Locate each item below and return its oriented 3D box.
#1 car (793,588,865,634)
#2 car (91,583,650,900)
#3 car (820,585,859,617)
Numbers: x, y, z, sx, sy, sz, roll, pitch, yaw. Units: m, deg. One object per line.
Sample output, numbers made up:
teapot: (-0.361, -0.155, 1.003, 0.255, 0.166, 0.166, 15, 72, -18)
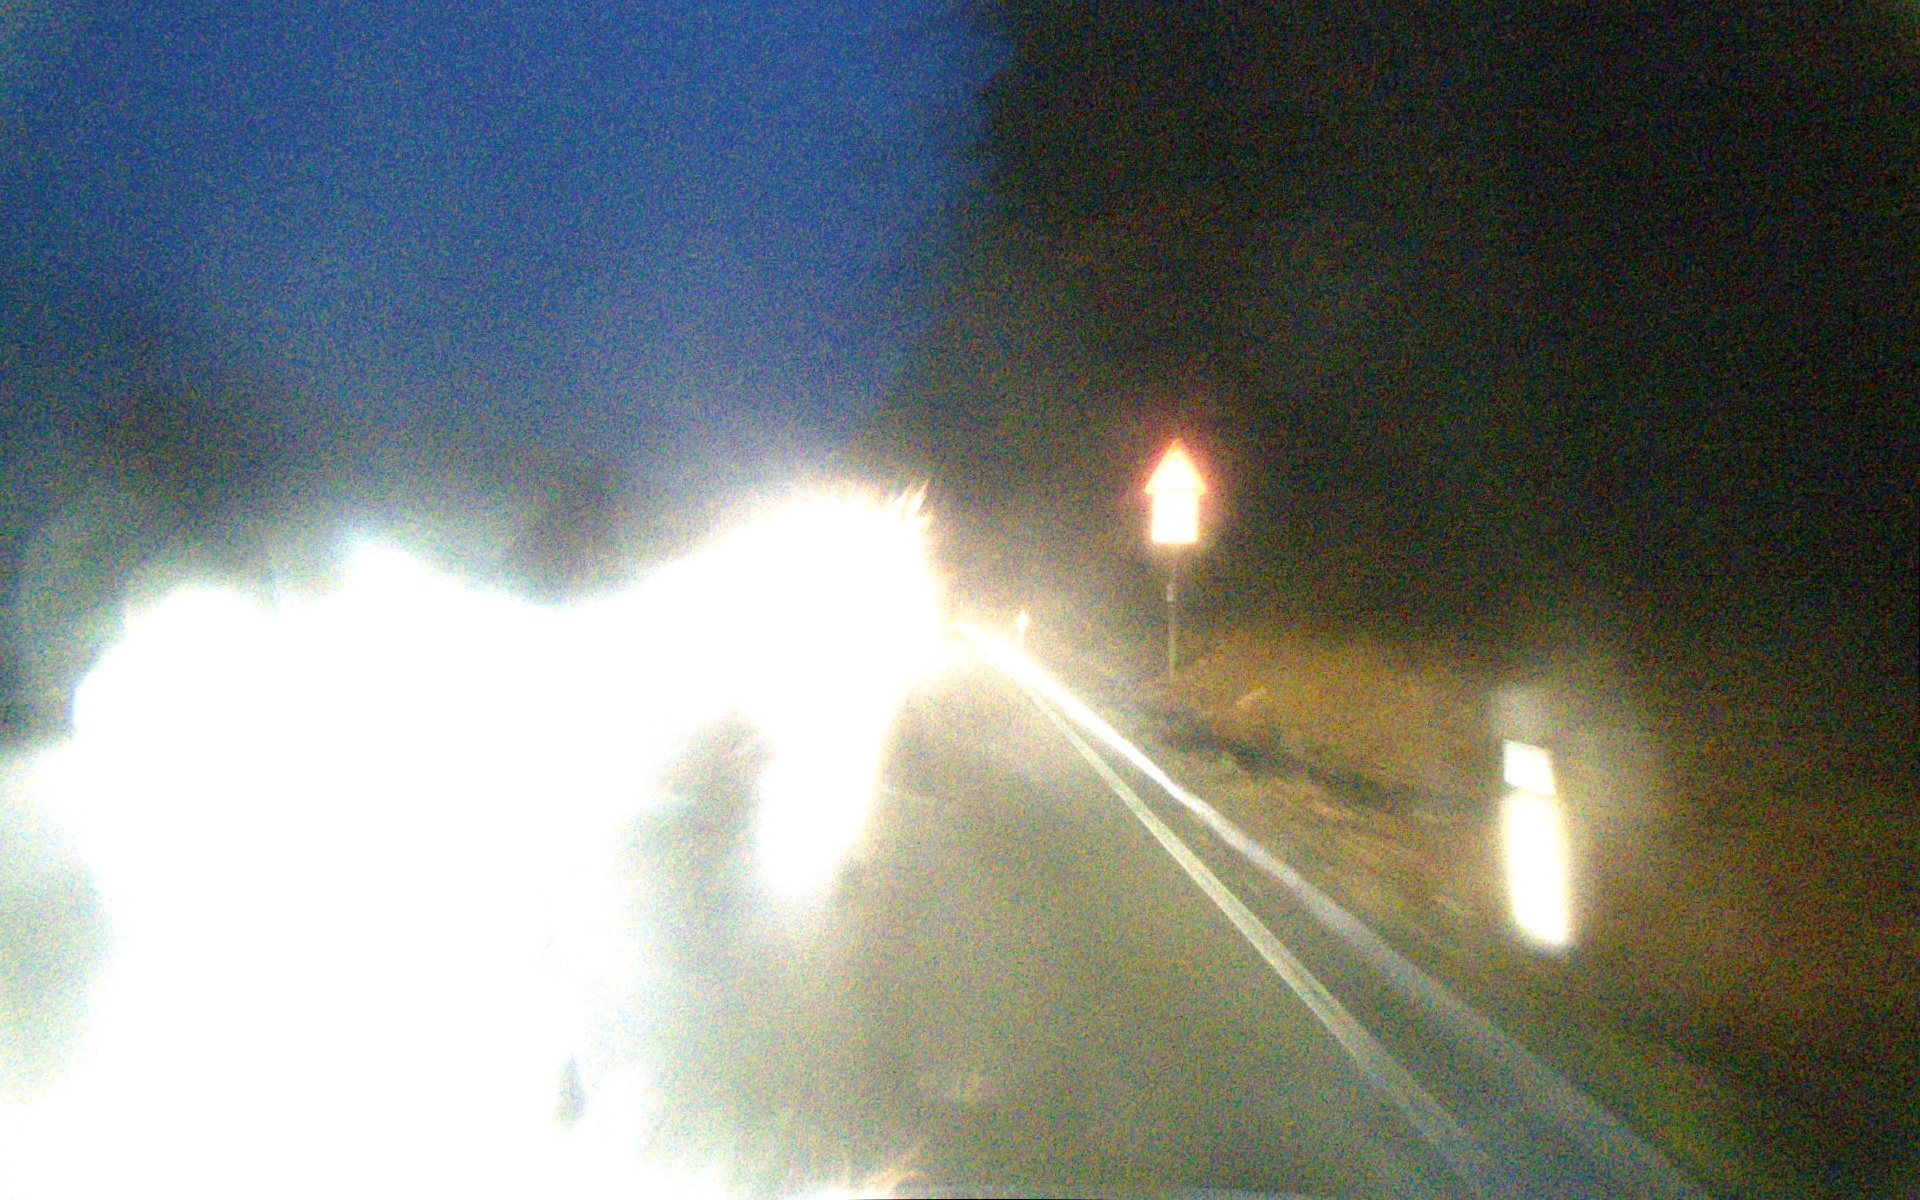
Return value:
car: (-4.515, 0.404, 57.613, 1.934, 1.487, 4.283, 1, -1, 3)
car: (-3.360, 0.687, 10.457, 1.953, 1.523, 4.356, 1, 1, 0)
car: (-5.999, 0.018, 82.691, 1.818, 1.548, 4.678, 1, 0, -3)
